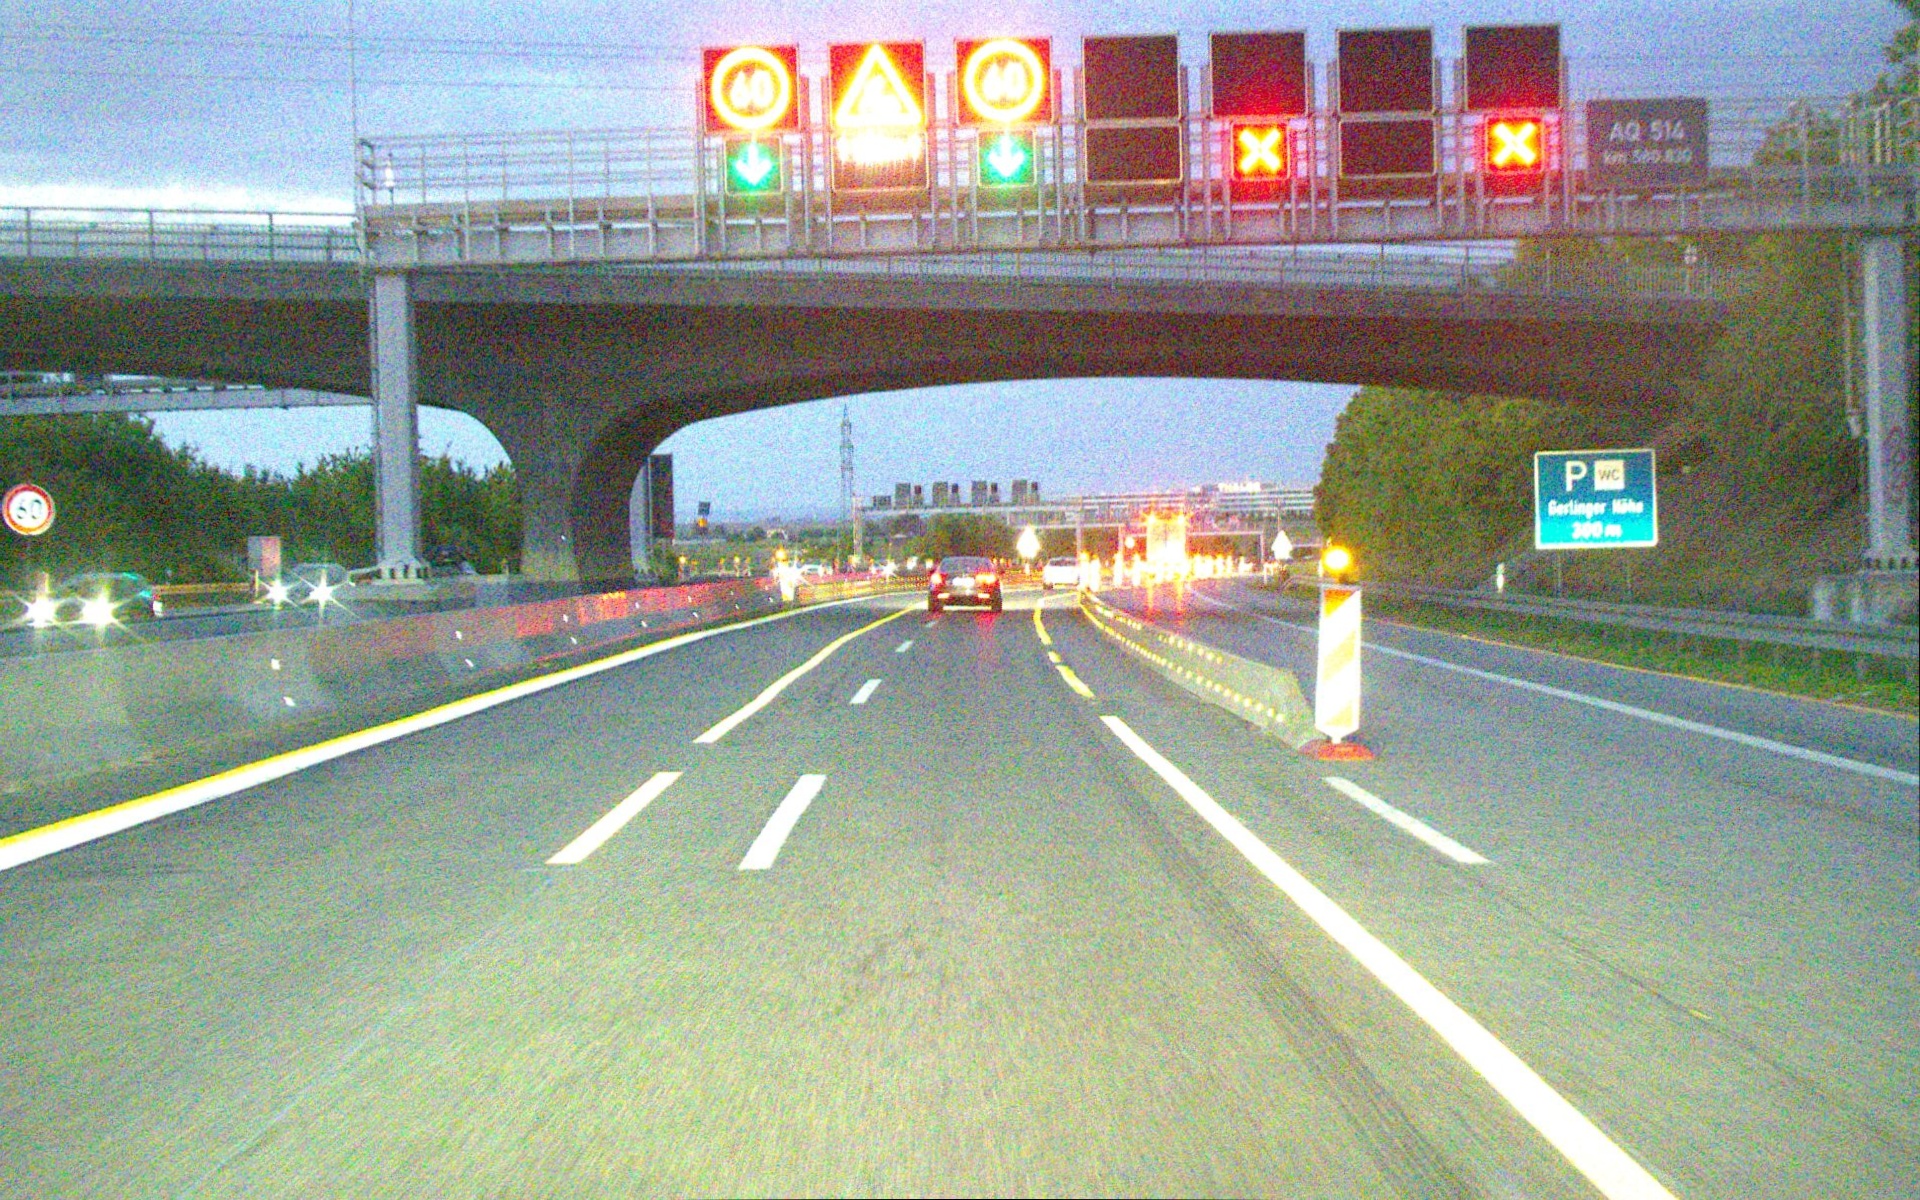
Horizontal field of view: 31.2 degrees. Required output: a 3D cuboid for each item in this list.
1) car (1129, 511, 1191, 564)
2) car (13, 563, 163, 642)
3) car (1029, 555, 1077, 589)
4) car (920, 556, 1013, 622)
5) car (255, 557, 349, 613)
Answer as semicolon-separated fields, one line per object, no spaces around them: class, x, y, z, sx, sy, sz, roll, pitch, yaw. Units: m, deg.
car;13.505;-4.207;232.818;3.605;3.384;8.014;1;0;-1
car;-19.173;0.037;75.792;1.994;1.670;4.515;1;0;2
car;4.048;-1.219;149.288;1.972;1.432;4.000;1;0;3
car;0.194;-0.294;88.929;2.265;1.616;4.000;1;0;1
car;-20.346;-0.475;106.431;1.993;1.668;4.582;1;0;0
